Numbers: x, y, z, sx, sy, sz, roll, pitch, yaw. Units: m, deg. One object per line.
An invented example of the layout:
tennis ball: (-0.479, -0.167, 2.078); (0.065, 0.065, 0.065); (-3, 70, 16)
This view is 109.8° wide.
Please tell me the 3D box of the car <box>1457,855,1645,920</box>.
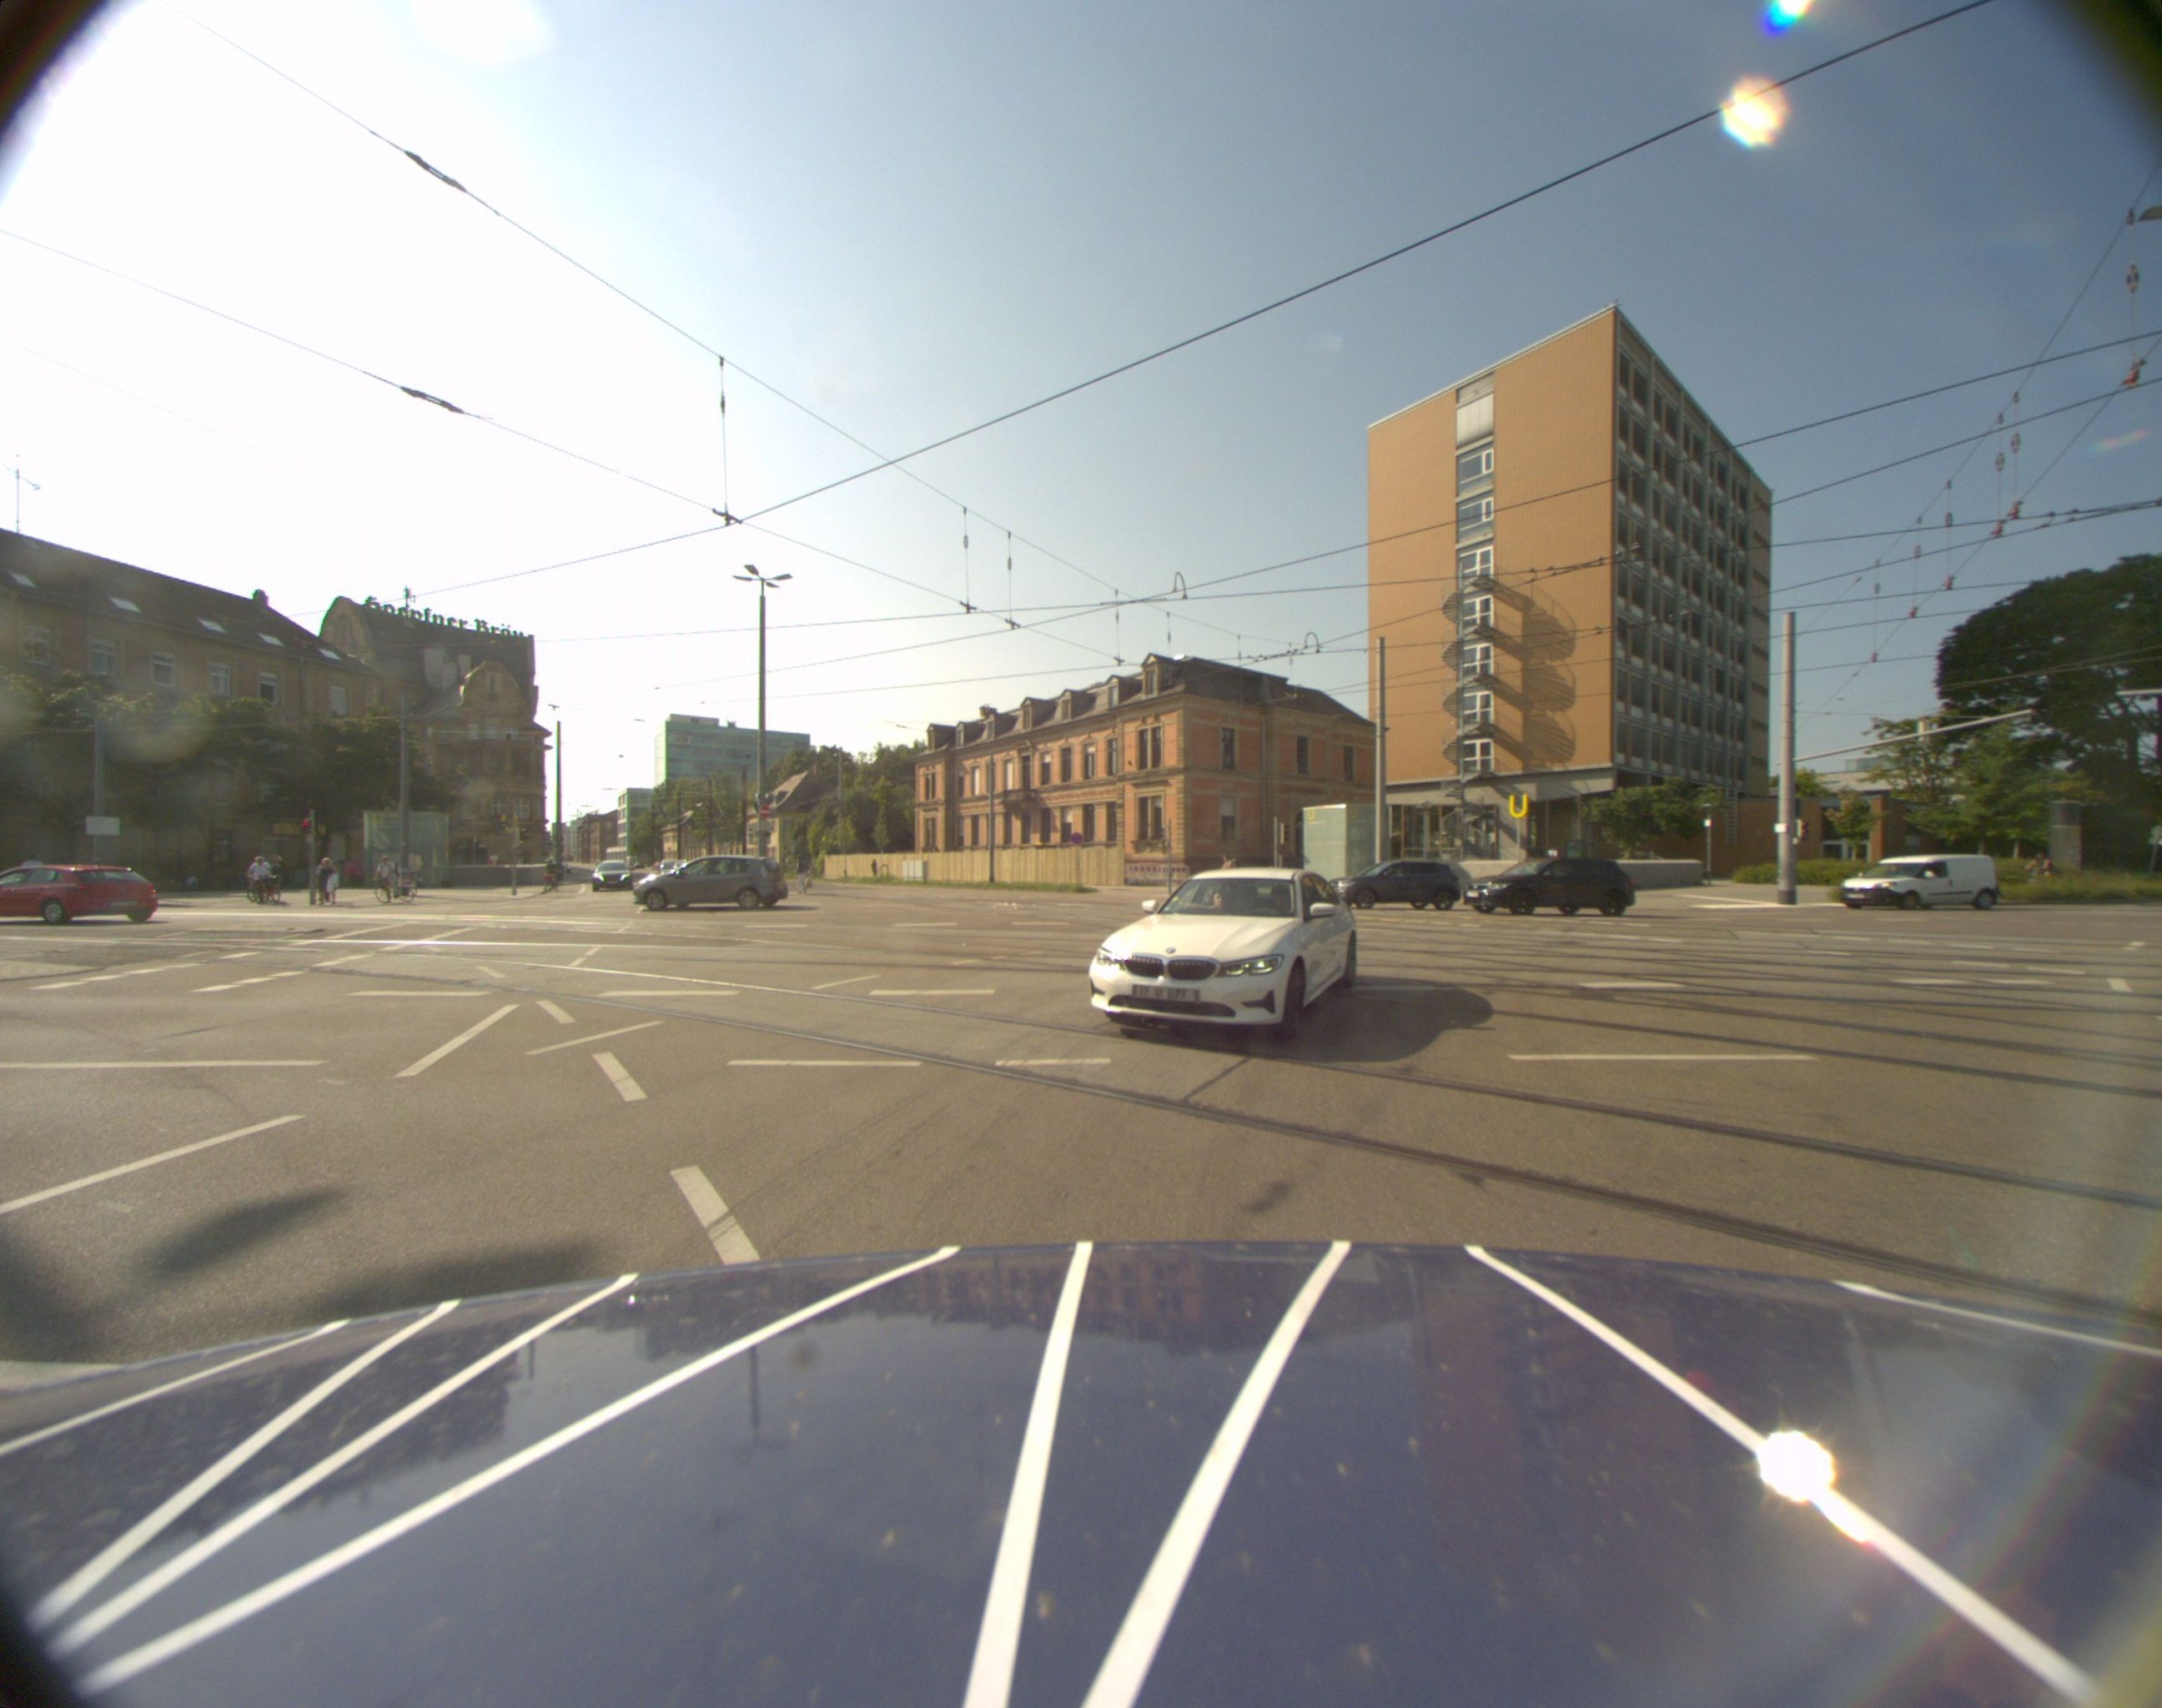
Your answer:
car: (13.130, 0.927, 21.340); (4.289, 1.696, 1.768); (0, -2, -7)

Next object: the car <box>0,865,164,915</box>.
car: (-32.494, 1.126, 23.936); (4.739, 1.466, 1.915); (-1, 0, -2)

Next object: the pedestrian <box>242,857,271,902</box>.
pedestrian: (-31.712, 0.978, 29.223); (0.623, 1.716, 0.506); (-1, 0, 19)

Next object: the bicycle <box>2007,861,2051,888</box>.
bicycle: (43.027, 0.923, 34.488); (1.772, 1.187, 0.401); (0, 1, -8)

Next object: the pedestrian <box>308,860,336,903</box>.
pedestrian: (-29.366, 1.045, 29.393); (0.523, 1.631, 0.506); (-1, 0, 4)

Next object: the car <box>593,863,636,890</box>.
car: (-25.604, 1.201, 41.669); (1.931, 1.368, 3.990); (-1, 0, -32)

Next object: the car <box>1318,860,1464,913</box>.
car: (9.892, 1.015, 24.399); (3.975, 1.572, 1.743); (0, -1, -5)

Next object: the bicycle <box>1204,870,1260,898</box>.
bicycle: (6.094, 1.219, 30.732); (2.185, 1.089, 0.529); (0, 1, 4)

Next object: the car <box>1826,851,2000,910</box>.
car: (28.327, 0.898, 25.948); (4.289, 1.875, 1.794); (0, -2, -7)

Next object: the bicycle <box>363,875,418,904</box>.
bicycle: (-26.393, 1.353, 29.064); (0.433, 1.019, 1.528); (0, 1, 19)

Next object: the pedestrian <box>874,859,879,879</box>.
pedestrian: (-15.799, 1.146, 58.696); (0.237, 1.522, 0.325); (-1, 1, -37)

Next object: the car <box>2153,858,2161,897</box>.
car: (42.194, 0.834, 27.719); (4.289, 1.456, 1.673); (0, -2, -7)

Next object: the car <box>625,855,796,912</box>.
car: (-11.135, 0.880, 23.091); (4.288, 1.614, 1.814); (0, -1, -4)

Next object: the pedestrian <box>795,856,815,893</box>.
pedestrian: (-12.789, 0.924, 35.212); (0.794, 1.677, 0.660); (-1, 1, -15)

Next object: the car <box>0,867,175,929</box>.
car: (-25.624, 1.079, 19.107); (3.777, 1.439, 1.677); (-1, 0, 3)

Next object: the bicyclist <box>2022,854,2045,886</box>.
bicyclist: (43.295, 0.716, 34.538); (0.549, 1.471, 0.397); (-1, 1, -7)

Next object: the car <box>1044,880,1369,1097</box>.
car: (1.679, 1.073, 8.059); (1.810, 1.419, 4.783); (-1, 0, 30)

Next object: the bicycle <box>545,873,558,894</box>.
bicycle: (-28.856, 1.584, 41.429); (0.401, 1.084, 1.924); (-1, 0, -30)

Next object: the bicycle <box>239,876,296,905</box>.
bicycle: (-30.315, 1.338, 28.342); (0.433, 1.019, 1.526); (-1, 0, 0)

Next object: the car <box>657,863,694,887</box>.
car: (-24.593, 1.239, 46.049); (1.696, 1.319, 3.990); (-1, 0, -32)

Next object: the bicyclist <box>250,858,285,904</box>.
bicyclist: (-30.364, 1.006, 28.361); (0.647, 1.707, 0.587); (-1, 0, 2)

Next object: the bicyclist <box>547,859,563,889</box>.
bicyclist: (-28.692, 1.076, 41.460); (0.664, 1.627, 0.916); (-1, 1, -31)

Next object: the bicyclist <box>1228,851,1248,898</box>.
bicyclist: (6.340, 0.825, 30.720); (0.709, 1.851, 0.782); (0, 1, 4)

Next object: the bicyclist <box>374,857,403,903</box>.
bicyclist: (-26.439, 0.974, 29.004); (0.594, 1.720, 0.588); (-1, 0, 19)

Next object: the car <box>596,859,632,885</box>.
car: (-30.978, 1.128, 50.405); (1.931, 1.626, 3.990); (-1, 0, -32)

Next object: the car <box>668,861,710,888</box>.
car: (-21.254, 1.062, 41.118); (1.696, 1.319, 3.990); (-1, 0, -32)
